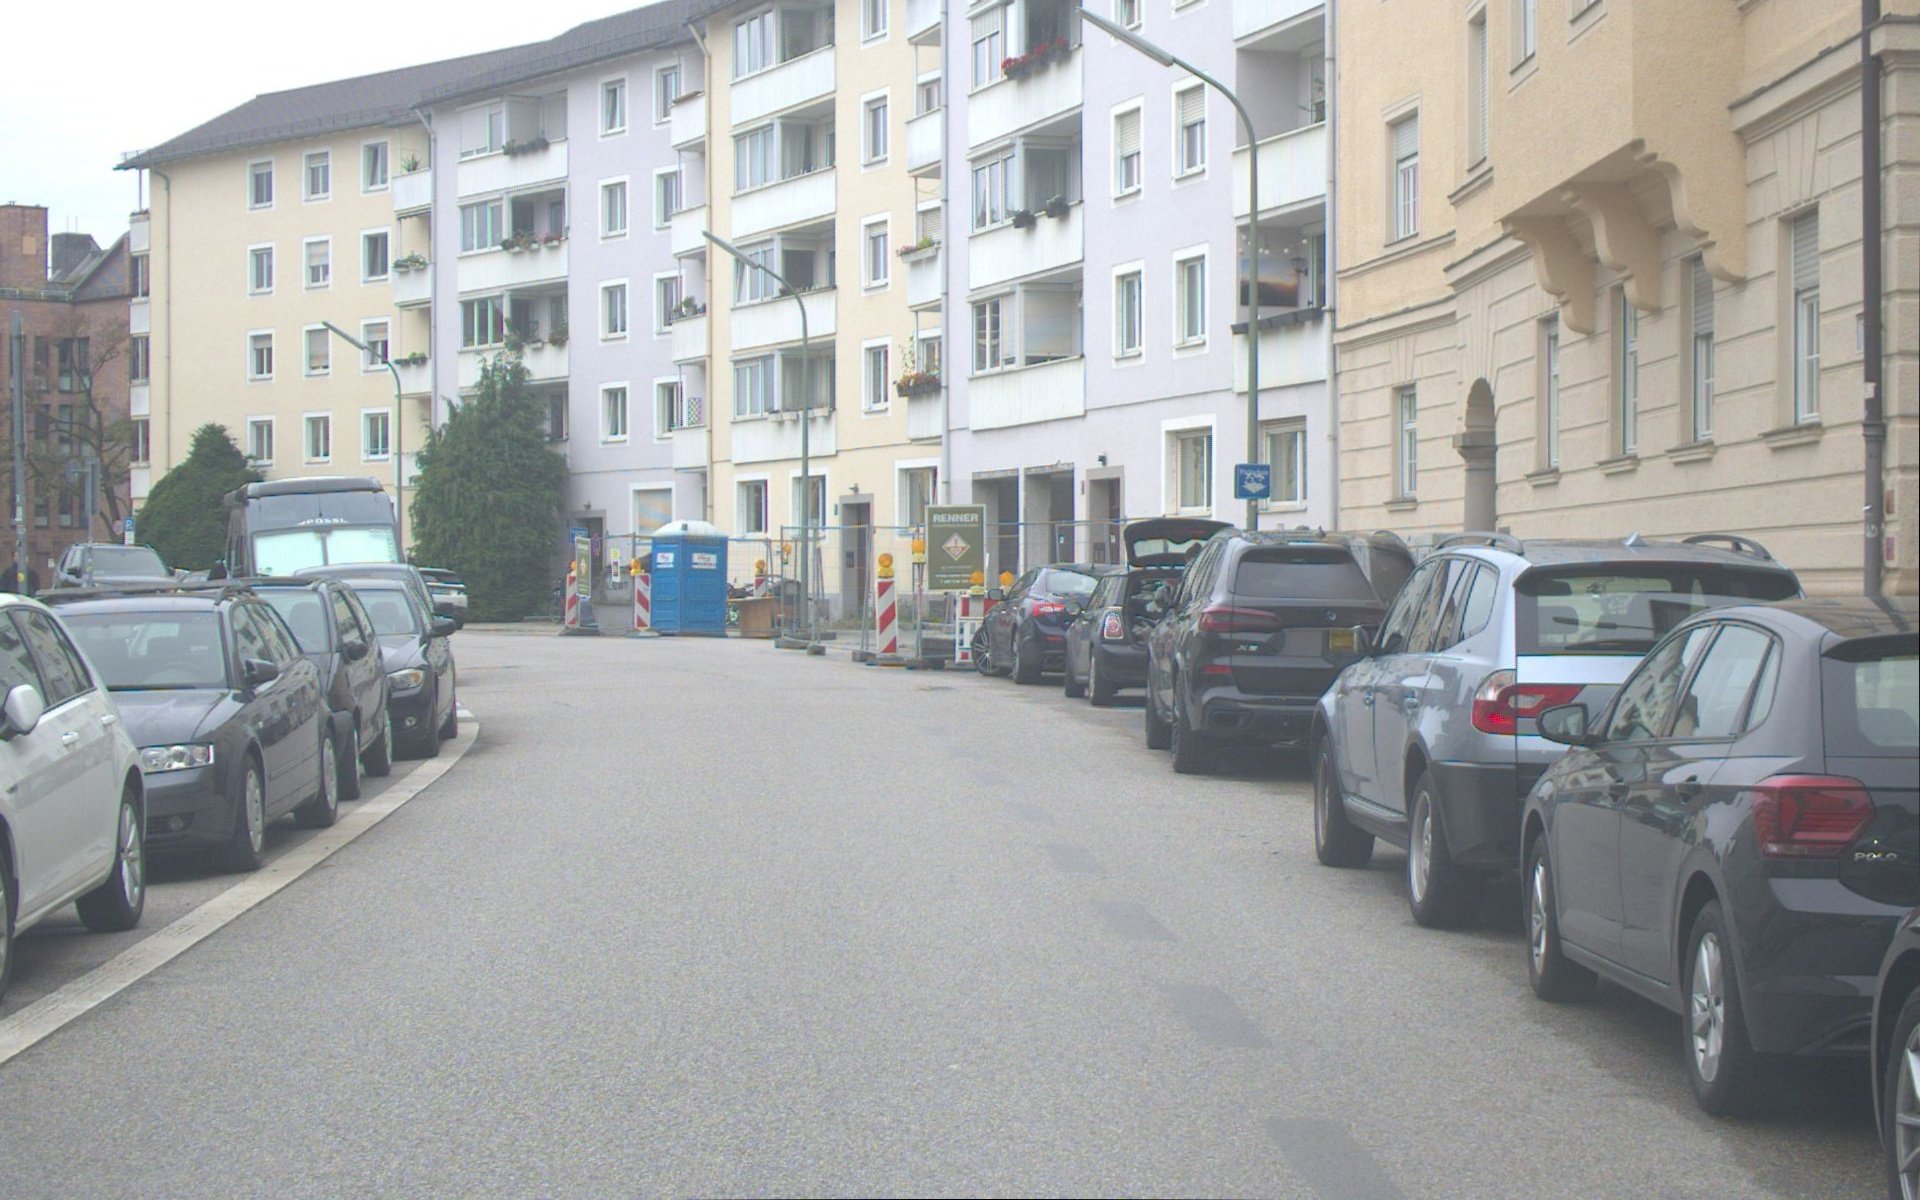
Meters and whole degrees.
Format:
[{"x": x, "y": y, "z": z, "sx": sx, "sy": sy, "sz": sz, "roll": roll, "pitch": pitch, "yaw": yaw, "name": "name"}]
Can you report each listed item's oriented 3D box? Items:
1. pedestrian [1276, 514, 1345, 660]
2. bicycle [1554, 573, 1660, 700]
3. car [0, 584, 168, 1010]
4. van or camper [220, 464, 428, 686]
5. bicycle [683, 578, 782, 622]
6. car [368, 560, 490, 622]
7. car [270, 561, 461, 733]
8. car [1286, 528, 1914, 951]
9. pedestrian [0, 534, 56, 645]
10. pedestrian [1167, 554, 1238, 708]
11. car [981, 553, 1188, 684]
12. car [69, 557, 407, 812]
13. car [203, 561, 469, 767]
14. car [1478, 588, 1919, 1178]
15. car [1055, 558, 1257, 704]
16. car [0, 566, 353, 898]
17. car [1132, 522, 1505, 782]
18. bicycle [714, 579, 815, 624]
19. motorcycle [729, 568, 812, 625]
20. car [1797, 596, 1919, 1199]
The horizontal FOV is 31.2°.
[{"x": 4.160, "y": -0.154, "z": 40.874, "sx": 0.617, "sy": 1.684, "sz": 0.919, "roll": -3, "pitch": 0, "yaw": -1, "name": "pedestrian"}, {"x": 5.724, "y": 0.305, "z": 30.498, "sx": 0.502, "sy": 1.045, "sz": 2.138, "roll": -3, "pitch": 1, "yaw": 0, "name": "bicycle"}, {"x": -4.245, "y": 0.689, "z": 13.002, "sx": 1.740, "sy": 1.417, "sz": 4.295, "roll": -1, "pitch": 1, "yaw": -4, "name": "car"}, {"x": -8.095, "y": -0.358, "z": 43.287, "sx": 2.296, "sy": 2.572, "sz": 6.088, "roll": 1, "pitch": 1, "yaw": -13, "name": "van or camper"}, {"x": -5.569, "y": 0.002, "z": 84.026, "sx": 2.232, "sy": 1.066, "sz": 0.920, "roll": 0, "pitch": 0, "yaw": -25, "name": "bicycle"}, {"x": -13.693, "y": -0.245, "z": 88.491, "sx": 1.830, "sy": 1.568, "sz": 4.000, "roll": 0, "pitch": 0, "yaw": -29, "name": "car"}, {"x": -5.507, "y": 0.405, "z": 32.100, "sx": 1.518, "sy": 1.460, "sz": 2.887, "roll": -2, "pitch": 1, "yaw": -6, "name": "car"}, {"x": 2.745, "y": 0.526, "z": 15.827, "sx": 1.846, "sy": 1.658, "sz": 4.499, "roll": 0, "pitch": 1, "yaw": -3, "name": "car"}, {"x": -15.810, "y": -0.183, "z": 58.170, "sx": 0.842, "sy": 1.860, "sz": 0.714, "roll": 0, "pitch": 1, "yaw": -29, "name": "pedestrian"}, {"x": 2.425, "y": 0.304, "z": 34.406, "sx": 0.628, "sy": 1.523, "sz": 0.578, "roll": 1, "pitch": 1, "yaw": -2, "name": "pedestrian"}, {"x": 1.467, "y": 0.182, "z": 42.430, "sx": 1.908, "sy": 1.472, "sz": 4.947, "roll": 1, "pitch": 1, "yaw": -5, "name": "car"}, {"x": -4.740, "y": 0.498, "z": 23.002, "sx": 1.630, "sy": 1.489, "sz": 3.604, "roll": -2, "pitch": 1, "yaw": -3, "name": "car"}, {"x": -5.030, "y": 0.457, "z": 28.202, "sx": 1.773, "sy": 1.460, "sz": 4.467, "roll": -2, "pitch": 1, "yaw": -6, "name": "car"}, {"x": 2.906, "y": 0.730, "z": 10.845, "sx": 1.827, "sy": 1.445, "sz": 4.084, "roll": 1, "pitch": 1, "yaw": -1, "name": "car"}, {"x": 2.008, "y": 0.288, "z": 36.170, "sx": 1.630, "sy": 1.412, "sz": 3.680, "roll": 1, "pitch": 1, "yaw": -4, "name": "car"}, {"x": -4.334, "y": 0.607, "z": 18.272, "sx": 1.630, "sy": 1.489, "sz": 4.276, "roll": -2, "pitch": 1, "yaw": -3, "name": "car"}, {"x": 2.570, "y": 0.311, "z": 25.965, "sx": 2.170, "sy": 1.733, "sz": 5.024, "roll": 1, "pitch": 1, "yaw": -1, "name": "car"}, {"x": -4.712, "y": 0.029, "z": 82.740, "sx": 2.232, "sy": 1.066, "sz": 0.920, "roll": 0, "pitch": 0, "yaw": -25, "name": "bicycle"}, {"x": -4.136, "y": -0.090, "z": 74.725, "sx": 0.931, "sy": 1.217, "sz": 2.507, "roll": 0, "pitch": 0, "yaw": -25, "name": "motorcycle"}, {"x": 2.980, "y": 0.771, "z": 5.736, "sx": 1.875, "sy": 1.445, "sz": 4.678, "roll": 1, "pitch": 1, "yaw": -2, "name": "car"}]
